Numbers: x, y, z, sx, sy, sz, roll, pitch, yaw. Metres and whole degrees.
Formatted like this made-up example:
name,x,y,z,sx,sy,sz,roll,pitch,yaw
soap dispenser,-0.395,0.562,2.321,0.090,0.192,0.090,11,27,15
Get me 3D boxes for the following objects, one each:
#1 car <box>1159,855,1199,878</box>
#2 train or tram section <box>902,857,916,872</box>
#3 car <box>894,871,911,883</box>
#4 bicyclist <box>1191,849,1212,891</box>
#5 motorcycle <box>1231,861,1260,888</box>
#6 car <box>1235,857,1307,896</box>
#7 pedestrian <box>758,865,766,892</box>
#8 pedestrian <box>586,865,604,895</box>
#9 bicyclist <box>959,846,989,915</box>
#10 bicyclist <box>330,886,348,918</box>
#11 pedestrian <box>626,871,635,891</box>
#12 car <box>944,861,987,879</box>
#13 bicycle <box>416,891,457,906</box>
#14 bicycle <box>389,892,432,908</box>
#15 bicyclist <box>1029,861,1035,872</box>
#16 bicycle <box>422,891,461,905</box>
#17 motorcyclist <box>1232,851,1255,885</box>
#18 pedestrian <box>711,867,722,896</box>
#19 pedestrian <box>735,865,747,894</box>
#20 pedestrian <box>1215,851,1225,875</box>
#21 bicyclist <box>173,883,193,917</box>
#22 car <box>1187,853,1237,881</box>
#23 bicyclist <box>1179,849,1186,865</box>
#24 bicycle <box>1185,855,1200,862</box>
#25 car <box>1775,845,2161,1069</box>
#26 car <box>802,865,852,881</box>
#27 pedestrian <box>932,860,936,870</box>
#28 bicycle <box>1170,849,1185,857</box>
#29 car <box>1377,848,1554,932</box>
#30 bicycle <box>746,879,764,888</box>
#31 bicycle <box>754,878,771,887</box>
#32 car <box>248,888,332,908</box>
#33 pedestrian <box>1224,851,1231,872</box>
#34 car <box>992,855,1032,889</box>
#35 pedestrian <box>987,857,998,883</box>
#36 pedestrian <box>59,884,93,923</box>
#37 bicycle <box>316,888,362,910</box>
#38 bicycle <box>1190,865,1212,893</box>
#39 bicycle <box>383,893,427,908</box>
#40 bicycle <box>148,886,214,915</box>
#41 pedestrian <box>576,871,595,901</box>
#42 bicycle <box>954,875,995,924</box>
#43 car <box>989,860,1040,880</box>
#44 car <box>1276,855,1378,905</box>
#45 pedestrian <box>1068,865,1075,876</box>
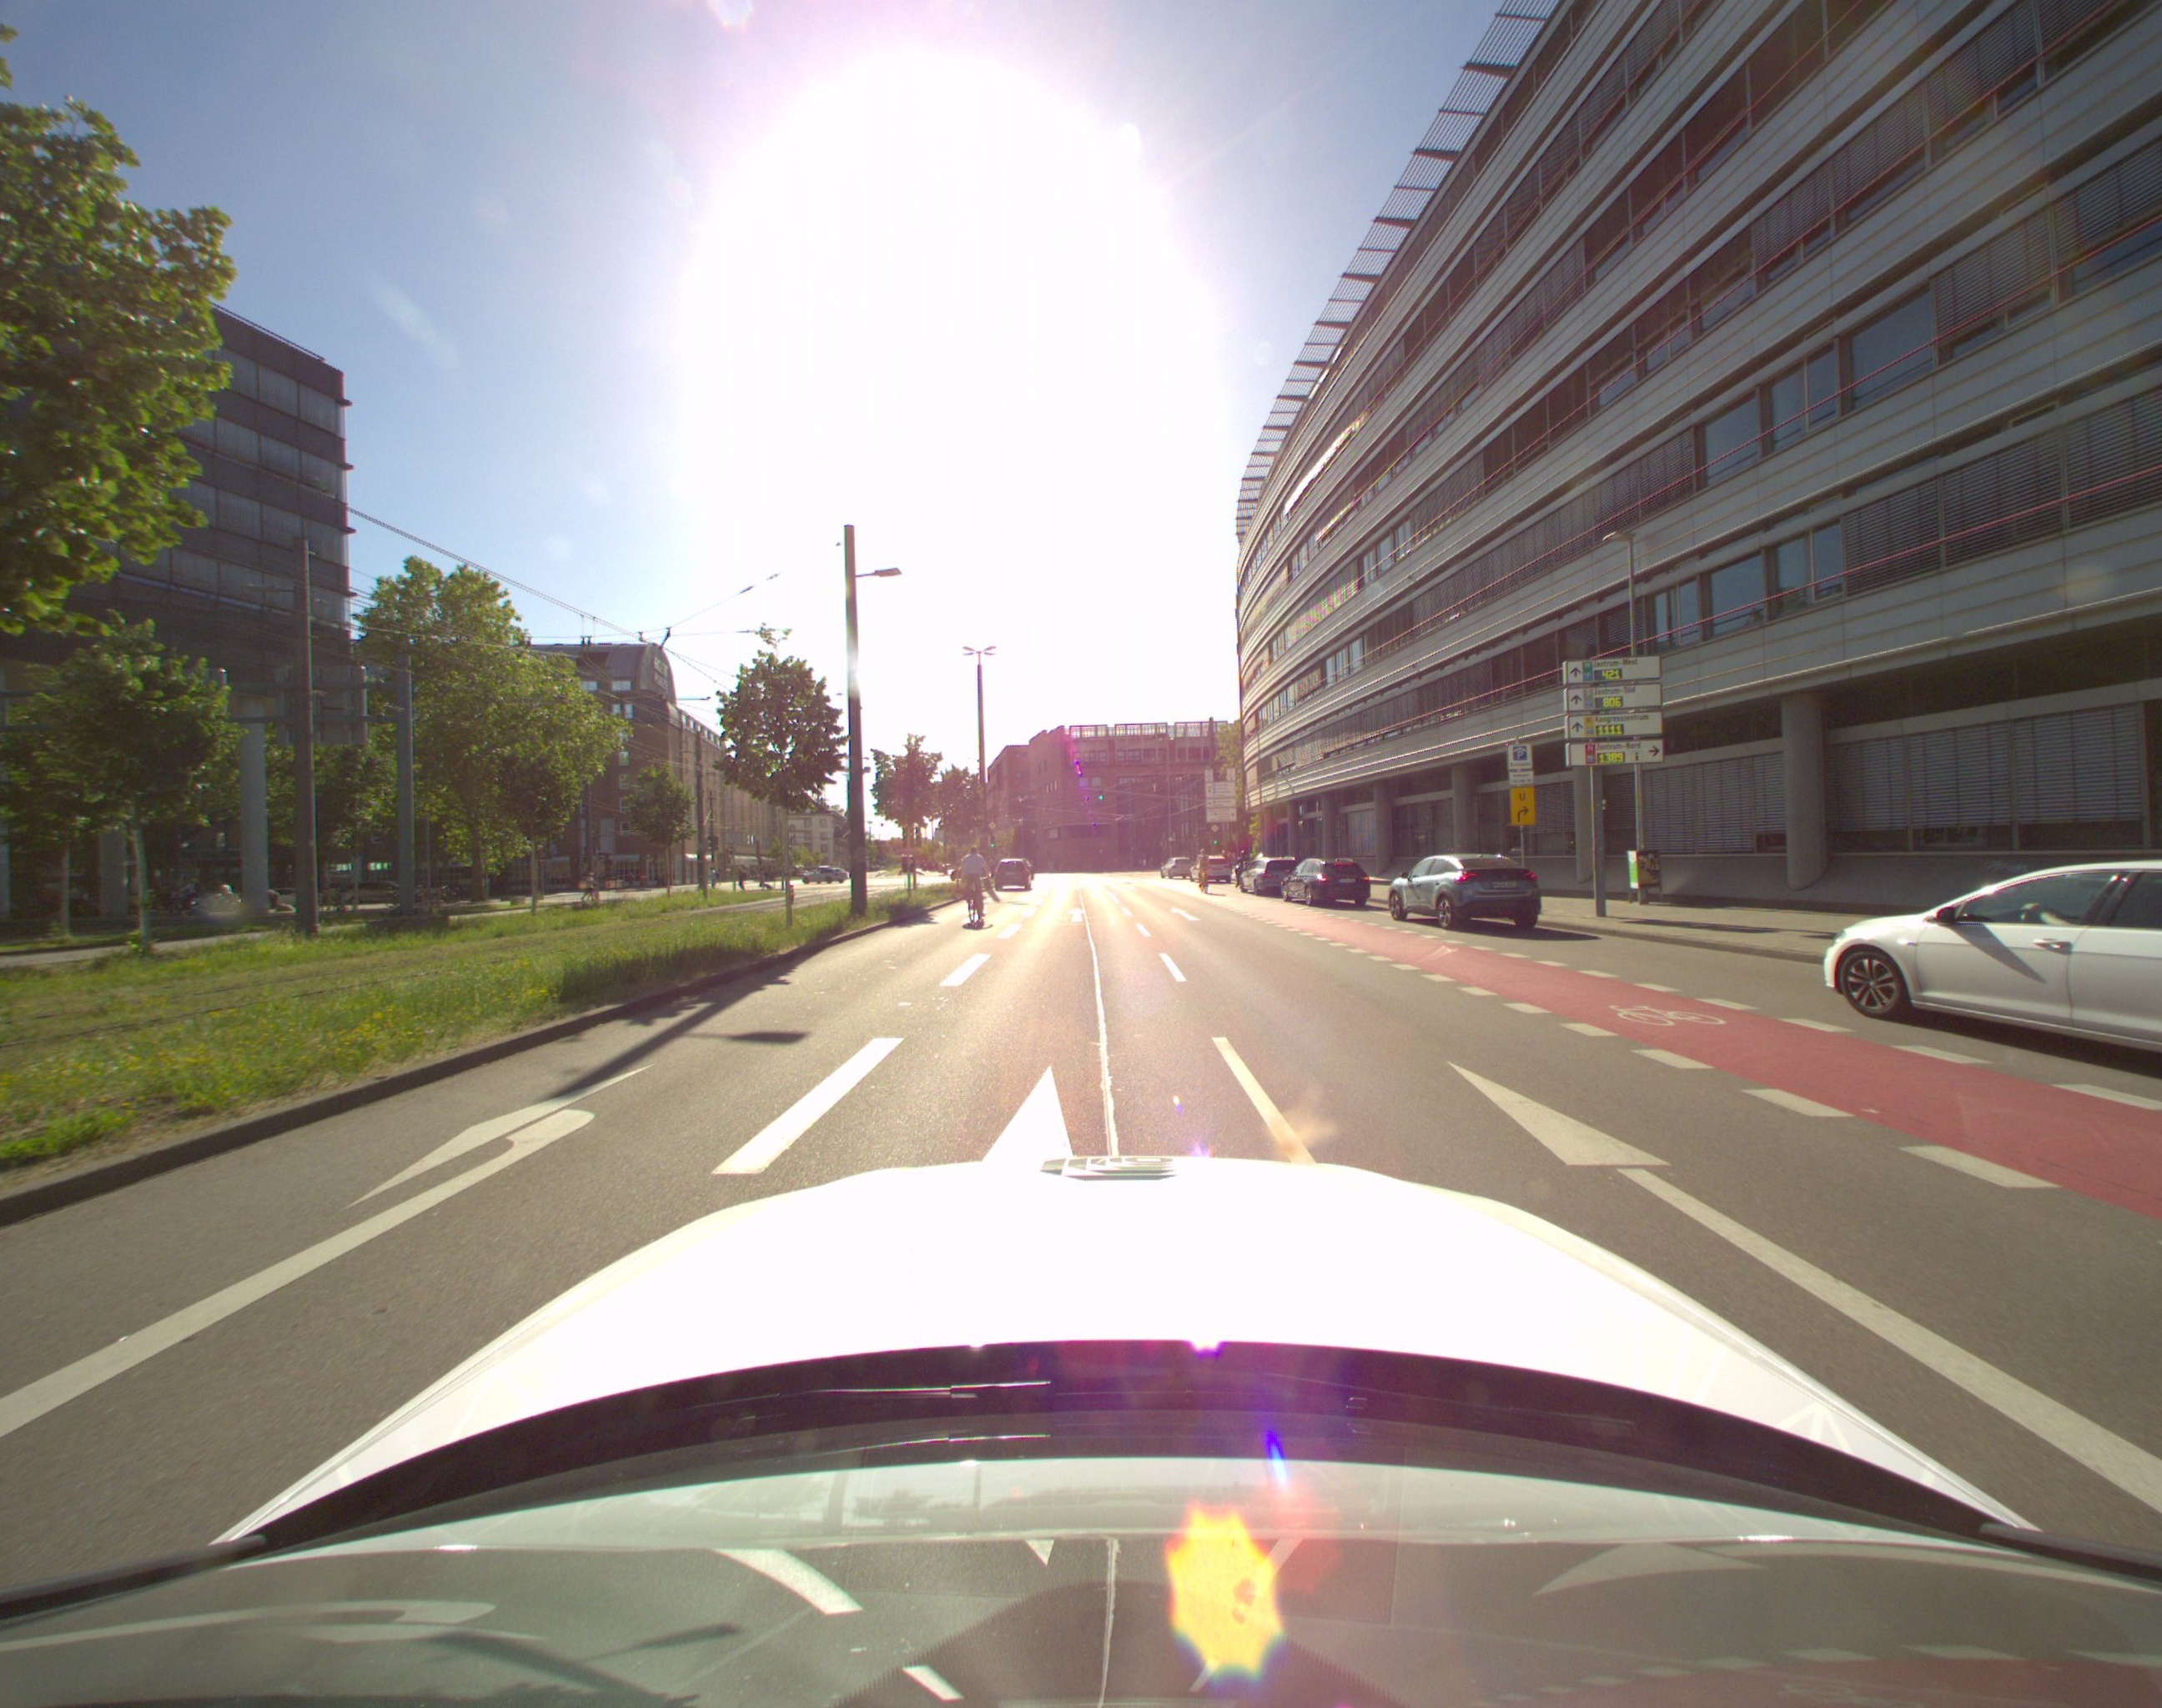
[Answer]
name,x,y,z,sx,sy,sz,roll,pitch,yaw
car,6.811,0.863,57.110,1.904,1.541,4.129,0,0,-6
train or tram section,-35.550,2.187,168.505,2.327,3.003,13.112,-2,0,-10
car,-27.290,3.468,124.425,2.267,1.727,3.922,-2,0,-16
bicyclist,5.153,0.666,34.852,0.647,1.752,1.045,-2,0,0
motorcycle,7.636,0.925,37.978,0.826,1.201,2.389,-1,-1,-1
car,7.514,0.846,32.693,1.716,1.396,4.787,-2,0,0
pedestrian,-21.645,1.680,55.323,0.388,1.831,0.459,-2,-1,-33
pedestrian,-31.170,1.664,52.227,0.757,1.831,0.626,-2,0,8
bicyclist,-2.634,0.644,20.135,0.616,1.669,1.019,0,0,0
bicyclist,-32.851,2.113,36.042,0.339,1.377,0.481,-2,-2,-2
pedestrian,-45.757,2.747,82.726,0.523,1.932,0.748,-2,-1,-14
car,-10.271,1.445,72.280,3.538,1.449,1.669,-2,-1,34
bicycle,-40.172,2.760,50.780,2.024,0.799,0.374,-2,-1,-11
bicycle,-40.006,2.742,48.576,2.024,0.799,0.374,-2,-1,-11
bicyclist,-5.943,1.475,98.988,0.594,1.335,0.928,-1,-1,-15
bicycle,-41.013,2.809,52.240,2.024,0.799,0.374,-2,-1,-11
motorcyclist,7.592,0.650,38.117,0.826,1.561,0.941,-1,-1,-2
pedestrian,-23.086,1.751,51.575,0.464,1.831,0.453,-2,-1,-39
pedestrian,-22.174,1.651,53.133,0.585,1.831,0.492,-2,-1,-39
pedestrian,10.685,0.664,62.586,0.633,1.798,0.610,-3,0,13
bicyclist,-46.026,2.348,41.748,0.484,1.721,0.463,-2,-1,-15
car,7.523,0.721,47.121,1.903,1.583,4.131,0,0,-5
bicyclist,12.616,0.380,101.440,0.607,1.884,0.646,-2,-1,-19
bicycle,13.132,0.520,96.051,1.670,0.806,0.670,-2,-1,-13
car,7.687,0.654,5.914,1.766,1.403,4.295,0,0,2
car,-24.869,1.846,79.757,4.357,1.381,2.079,-2,-1,26
pedestrian,-24.528,1.818,136.006,0.539,1.655,0.703,-2,-1,-15
bicycle,11.965,-0.137,101.259,1.675,0.994,0.668,-2,-1,-22
car,8.068,0.688,17.594,1.716,1.524,4.397,-2,0,0
bicycle,-50.871,4.576,126.981,2.479,1.310,0.732,-2,-1,-4
bicycle,-50.826,4.592,129.957,2.479,1.310,0.732,-2,-1,-4
car,-55.636,3.095,57.329,3.977,1.143,1.780,-2,0,-2
pedestrian,11.232,0.571,62.501,0.424,1.645,0.564,-3,0,12
car,-3.422,0.893,40.767,1.722,1.564,3.675,-2,0,-2
pedestrian,-6.095,1.109,56.095,0.670,1.753,0.765,-2,-1,-14
pedestrian,-43.594,2.142,35.334,0.505,1.624,0.787,-2,-2,-1
bicycle,-32.858,1.984,36.091,0.352,0.926,1.893,-2,-2,-2
bicycle,5.159,1.052,35.192,0.647,1.110,1.758,-2,0,0
bicycle,-39.412,2.709,47.457,2.024,0.799,0.374,-2,-1,-11
bicycle,-46.091,2.382,41.743,2.368,1.352,0.463,-2,-1,-15
pedestrian,-31.045,2.001,51.065,0.757,1.831,0.625,-2,0,4
bicycle,-2.625,1.096,20.333,0.684,1.069,2.696,0,0,0
car,-5.119,1.247,62.239,1.740,1.449,4.471,-2,-1,-36
car,7.702,0.757,25.933,1.717,1.422,4.634,-1,0,-2
pedestrian,-1.304,2.251,110.297,0.619,1.563,0.981,-2,-1,-16
